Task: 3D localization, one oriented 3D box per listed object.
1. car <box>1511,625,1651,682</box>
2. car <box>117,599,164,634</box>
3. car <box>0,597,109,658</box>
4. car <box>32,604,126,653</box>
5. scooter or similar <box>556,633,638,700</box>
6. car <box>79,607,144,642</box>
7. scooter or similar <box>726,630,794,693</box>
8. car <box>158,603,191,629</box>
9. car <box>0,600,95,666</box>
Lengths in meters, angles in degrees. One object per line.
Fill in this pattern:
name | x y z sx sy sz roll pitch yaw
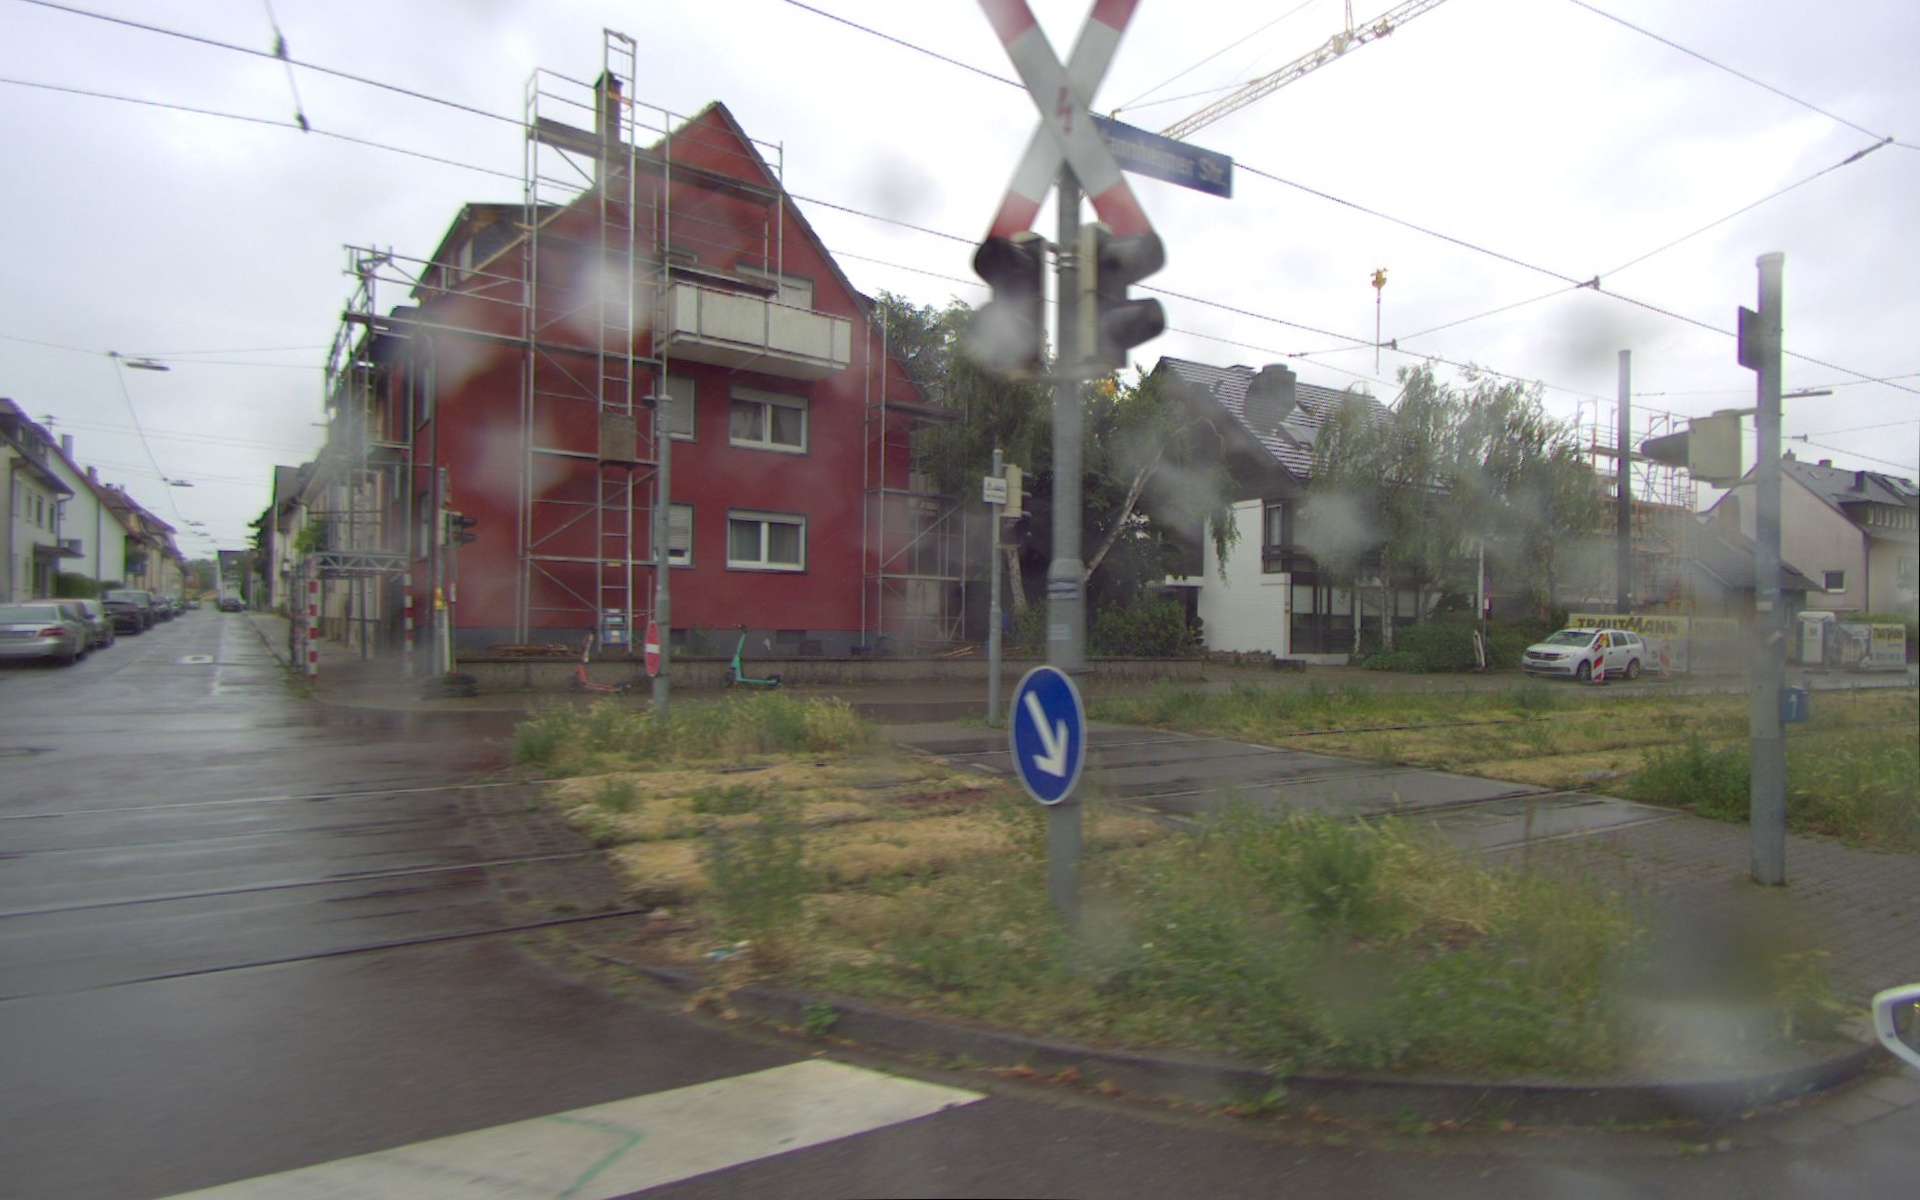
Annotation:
car | 19.169 1.611 30.958 4.367 1.563 1.703 1 1 -29
car | -44.875 0.912 55.048 1.776 1.847 4.319 2 -2 -37
car | -24.759 0.736 27.578 1.826 1.540 4.319 2 -2 -37
car | -27.385 0.869 31.335 1.826 1.397 4.319 2 -2 -37
scooter or similar | -6.443 1.174 17.858 1.257 1.144 0.441 1 -1 0
car | -34.968 0.991 41.486 1.776 1.385 4.319 2 -2 -37
scooter or similar | -3.914 1.203 19.613 1.261 1.196 0.394 1 -1 -15
car | -57.682 1.188 73.849 1.776 1.847 4.319 2 -2 -37
car | -21.637 0.739 23.467 1.826 1.420 4.319 2 -2 -37
